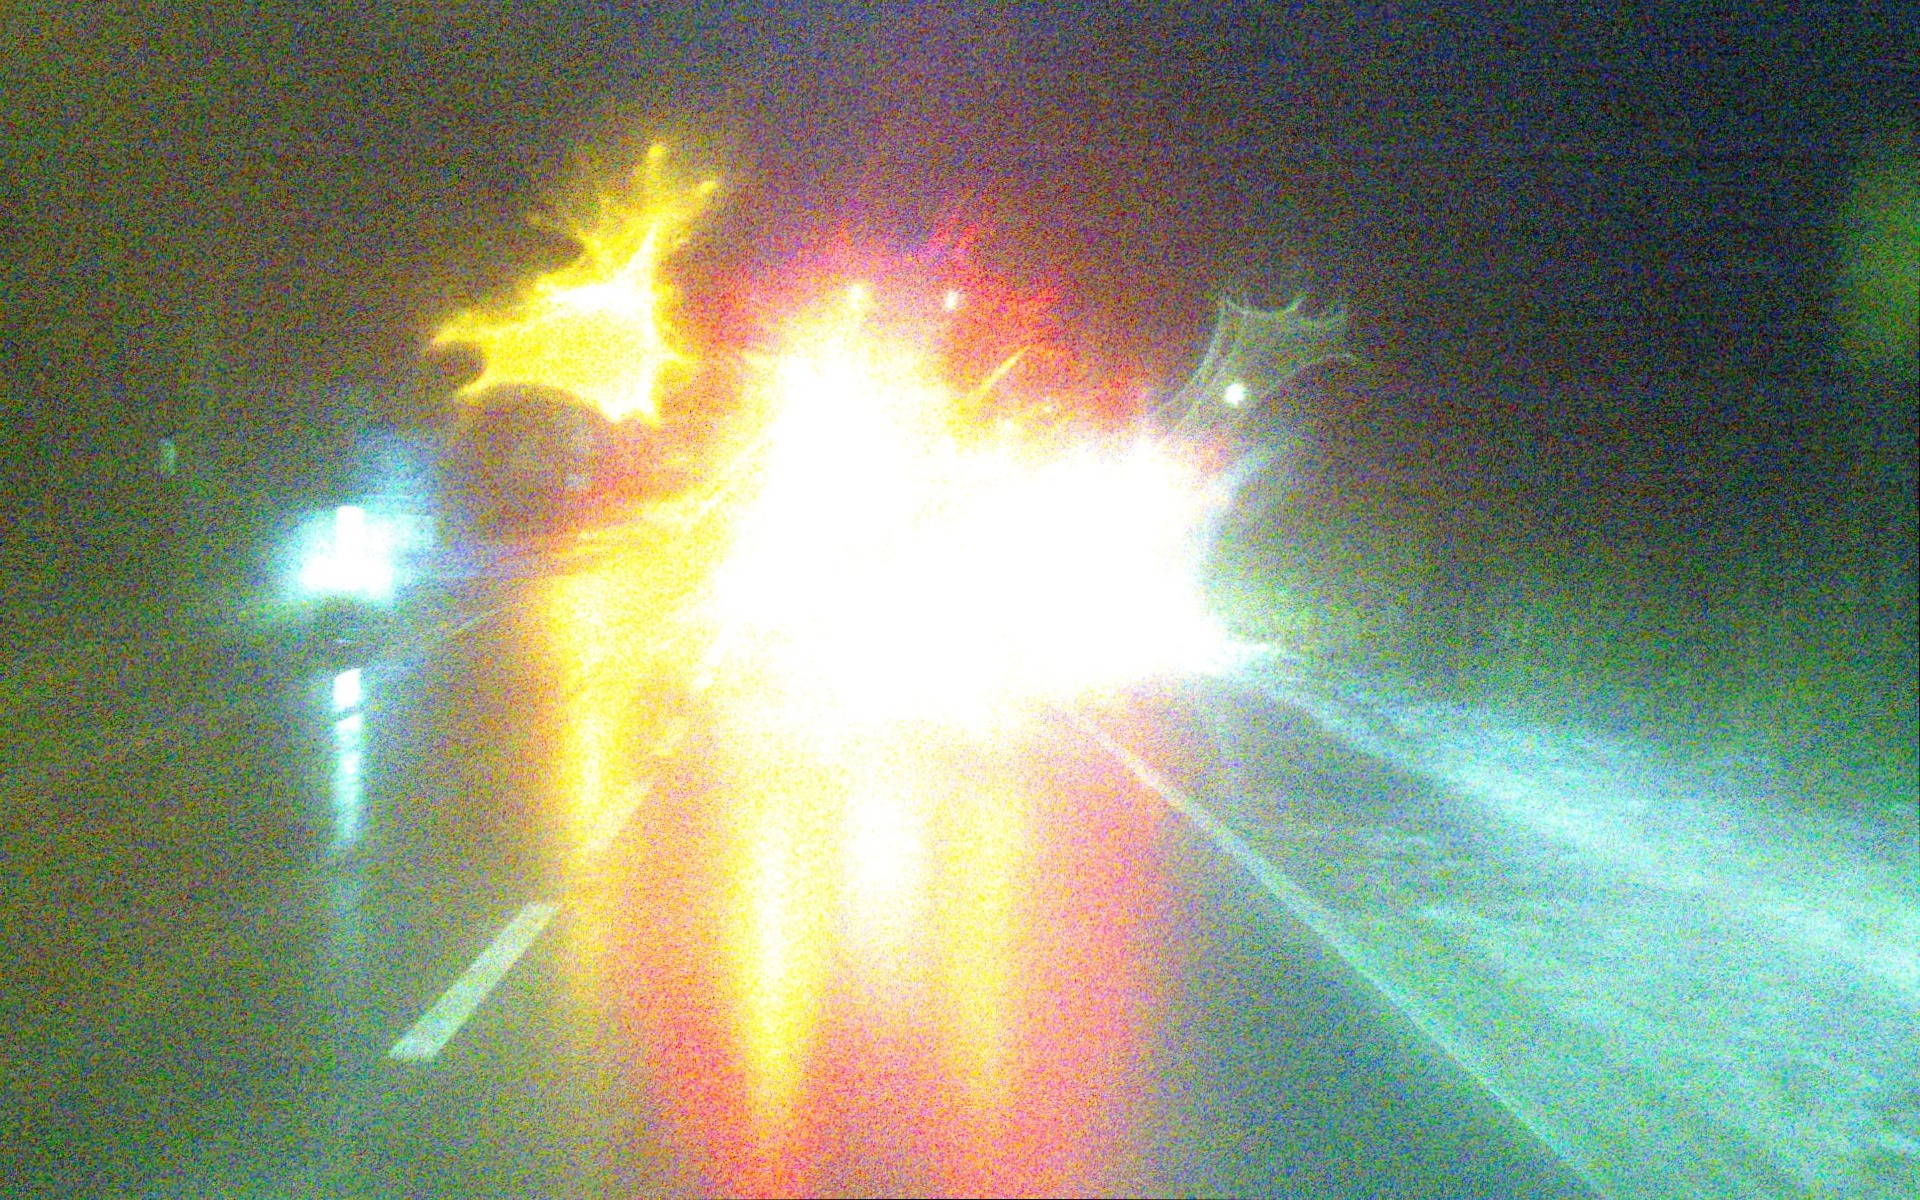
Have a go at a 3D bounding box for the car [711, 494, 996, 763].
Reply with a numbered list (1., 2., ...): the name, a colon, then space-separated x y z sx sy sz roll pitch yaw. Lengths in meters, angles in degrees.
1. car: -0.668 0.123 23.582 1.791 1.675 3.905 0 2 0
